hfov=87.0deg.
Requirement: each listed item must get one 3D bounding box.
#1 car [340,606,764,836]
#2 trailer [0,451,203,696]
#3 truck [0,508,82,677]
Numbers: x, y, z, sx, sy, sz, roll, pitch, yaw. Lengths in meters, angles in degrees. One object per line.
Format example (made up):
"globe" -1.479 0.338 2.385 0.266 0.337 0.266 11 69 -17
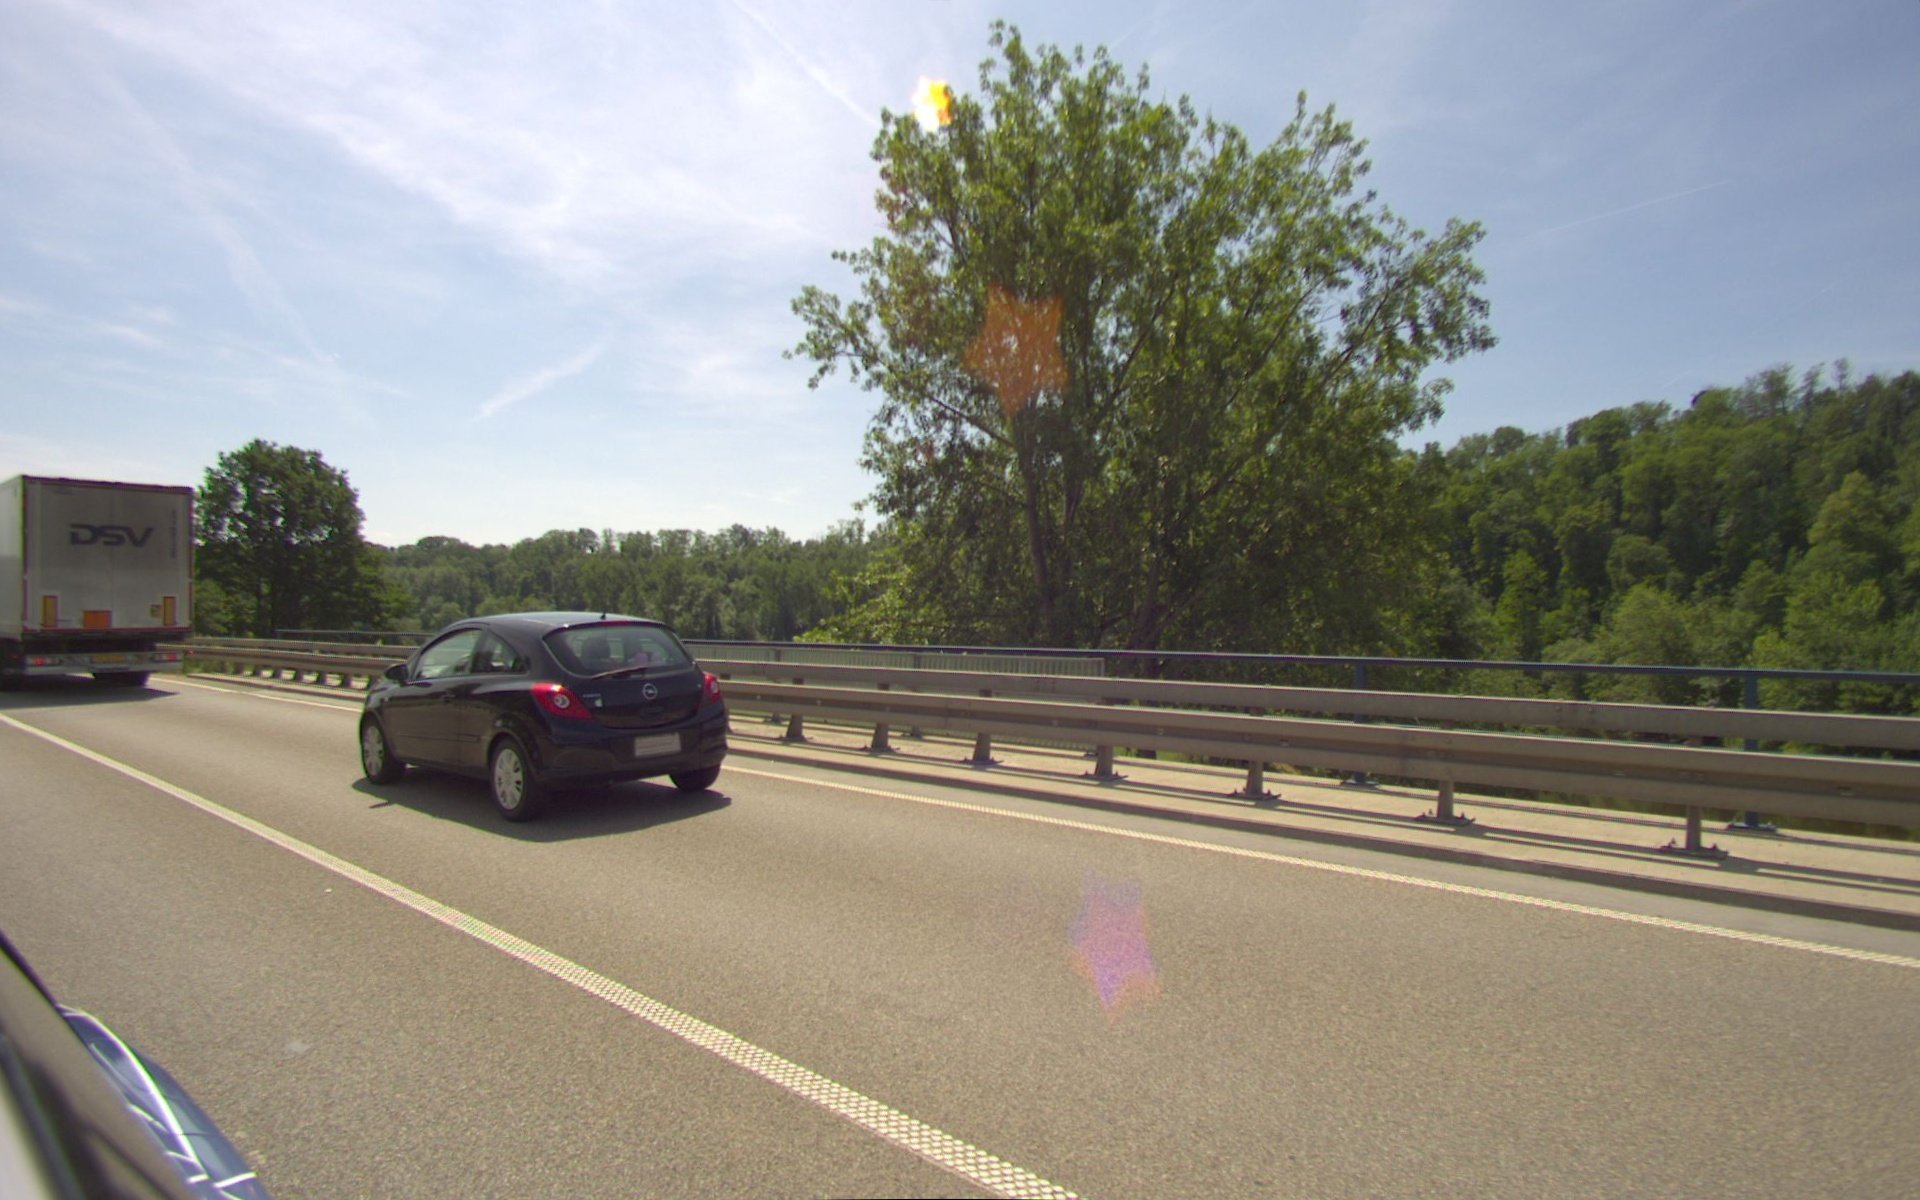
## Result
"car" -3.526 0.816 8.412 3.891 1.469 1.644 -1 -1 40
"trailer" -21.164 -0.305 23.140 14.482 4.219 2.825 -2 -1 39
"truck" -26.142 -0.135 27.179 6.323 4.192 2.818 -1 -1 39
